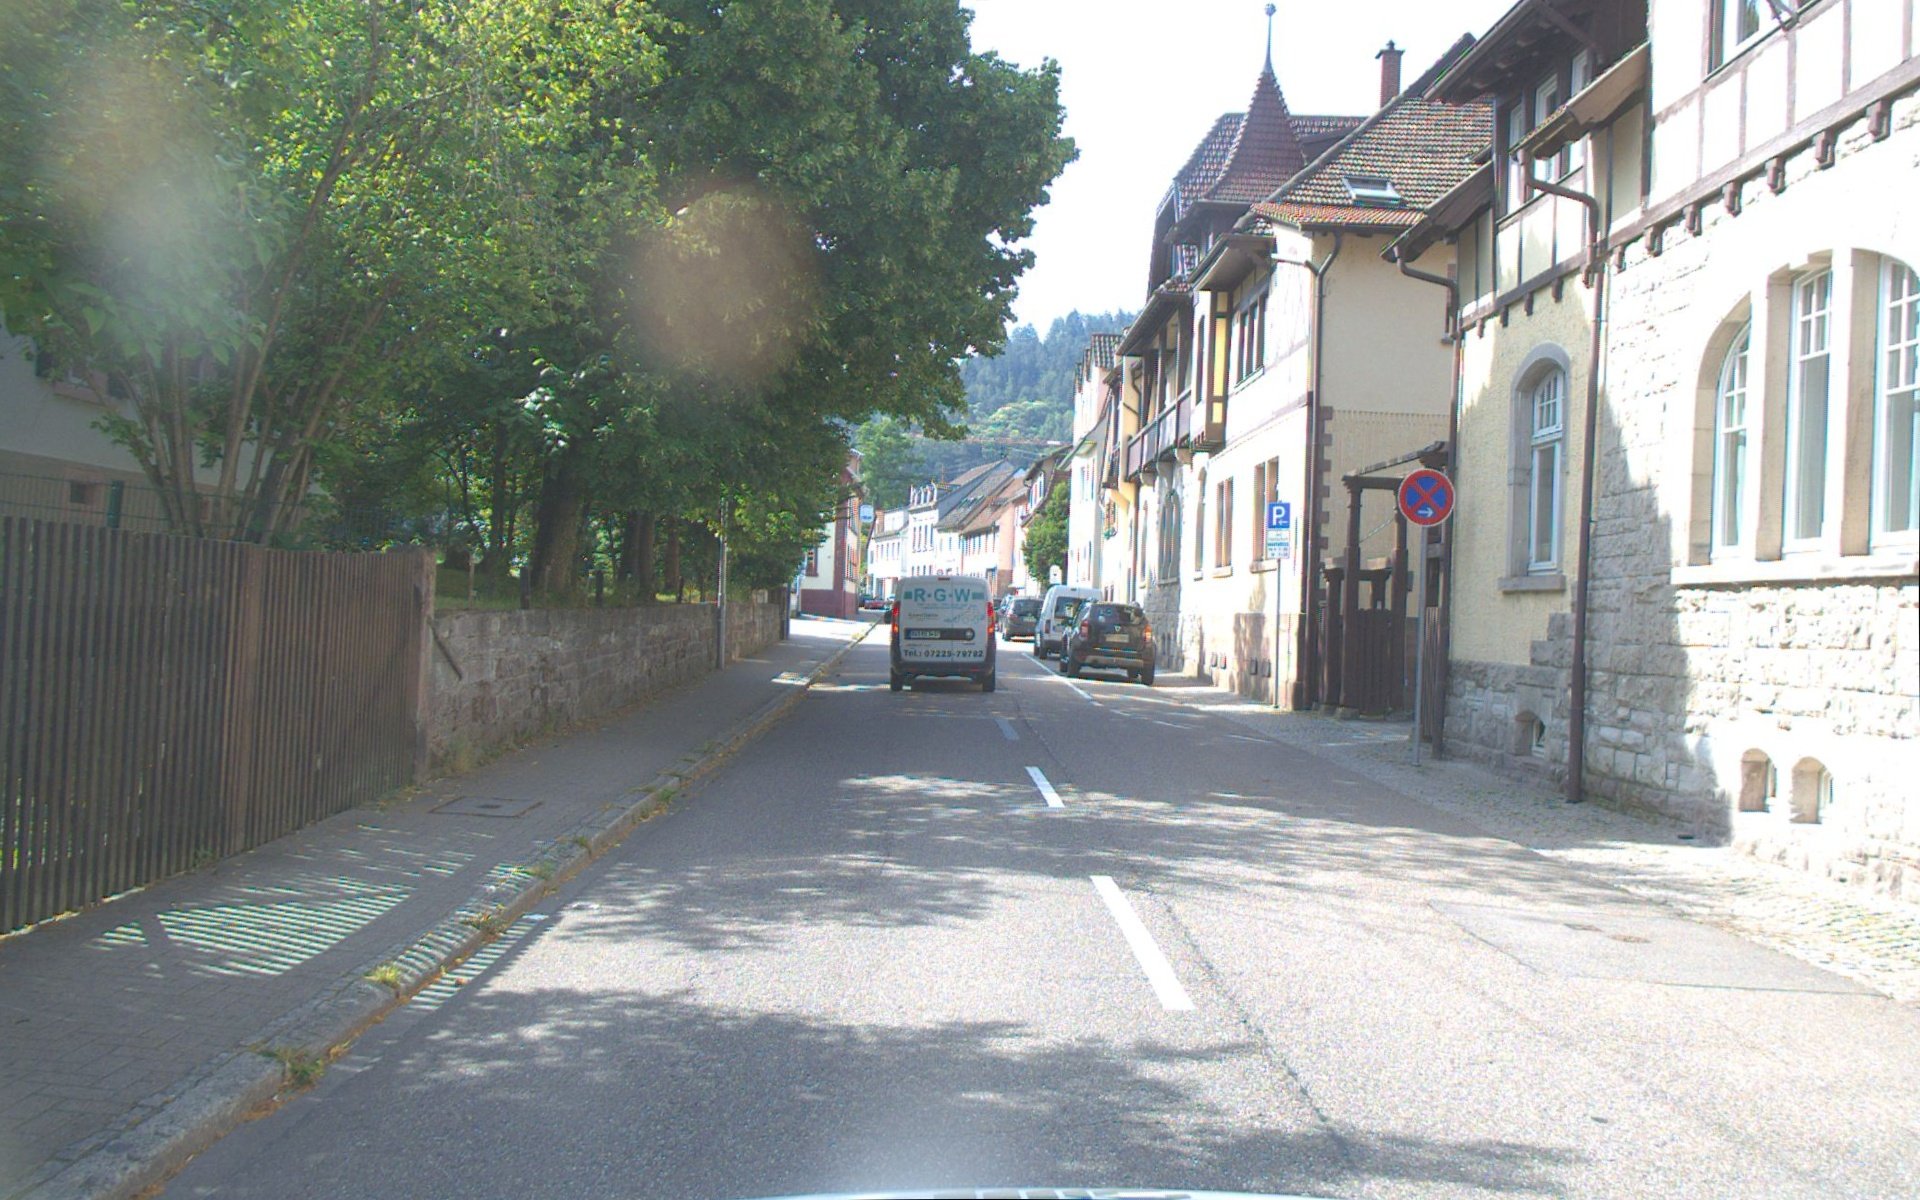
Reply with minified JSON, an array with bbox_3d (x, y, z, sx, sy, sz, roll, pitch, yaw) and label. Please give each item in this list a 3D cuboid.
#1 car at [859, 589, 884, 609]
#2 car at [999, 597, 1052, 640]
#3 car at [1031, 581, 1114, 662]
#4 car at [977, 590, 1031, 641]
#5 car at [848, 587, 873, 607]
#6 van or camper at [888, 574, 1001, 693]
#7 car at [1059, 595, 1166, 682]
[{"bbox_3d":[-8.300,-0.098,154.737,1.740,1.830,3.988,2,0,-12],"label":"car"},{"bbox_3d":[2.422,0.674,61.862,1.636,1.534,3.998,1,0,-3],"label":"car"},{"bbox_3d":[3.038,0.563,45.516,1.833,2.049,3.999,3,0,-1],"label":"car"},{"bbox_3d":[1.880,0.653,71.763,1.954,2.049,3.998,2,0,-3],"label":"car"},{"bbox_3d":[-9.731,-0.267,161.241,1.740,1.830,3.988,2,0,-12],"label":"car"},{"bbox_3d":[-0.318,0.509,28.346,1.791,1.876,4.187,0,1,-2],"label":"van or camper"},{"bbox_3d":[3.197,0.779,35.356,1.774,1.624,3.926,4,0,-1],"label":"car"}]
